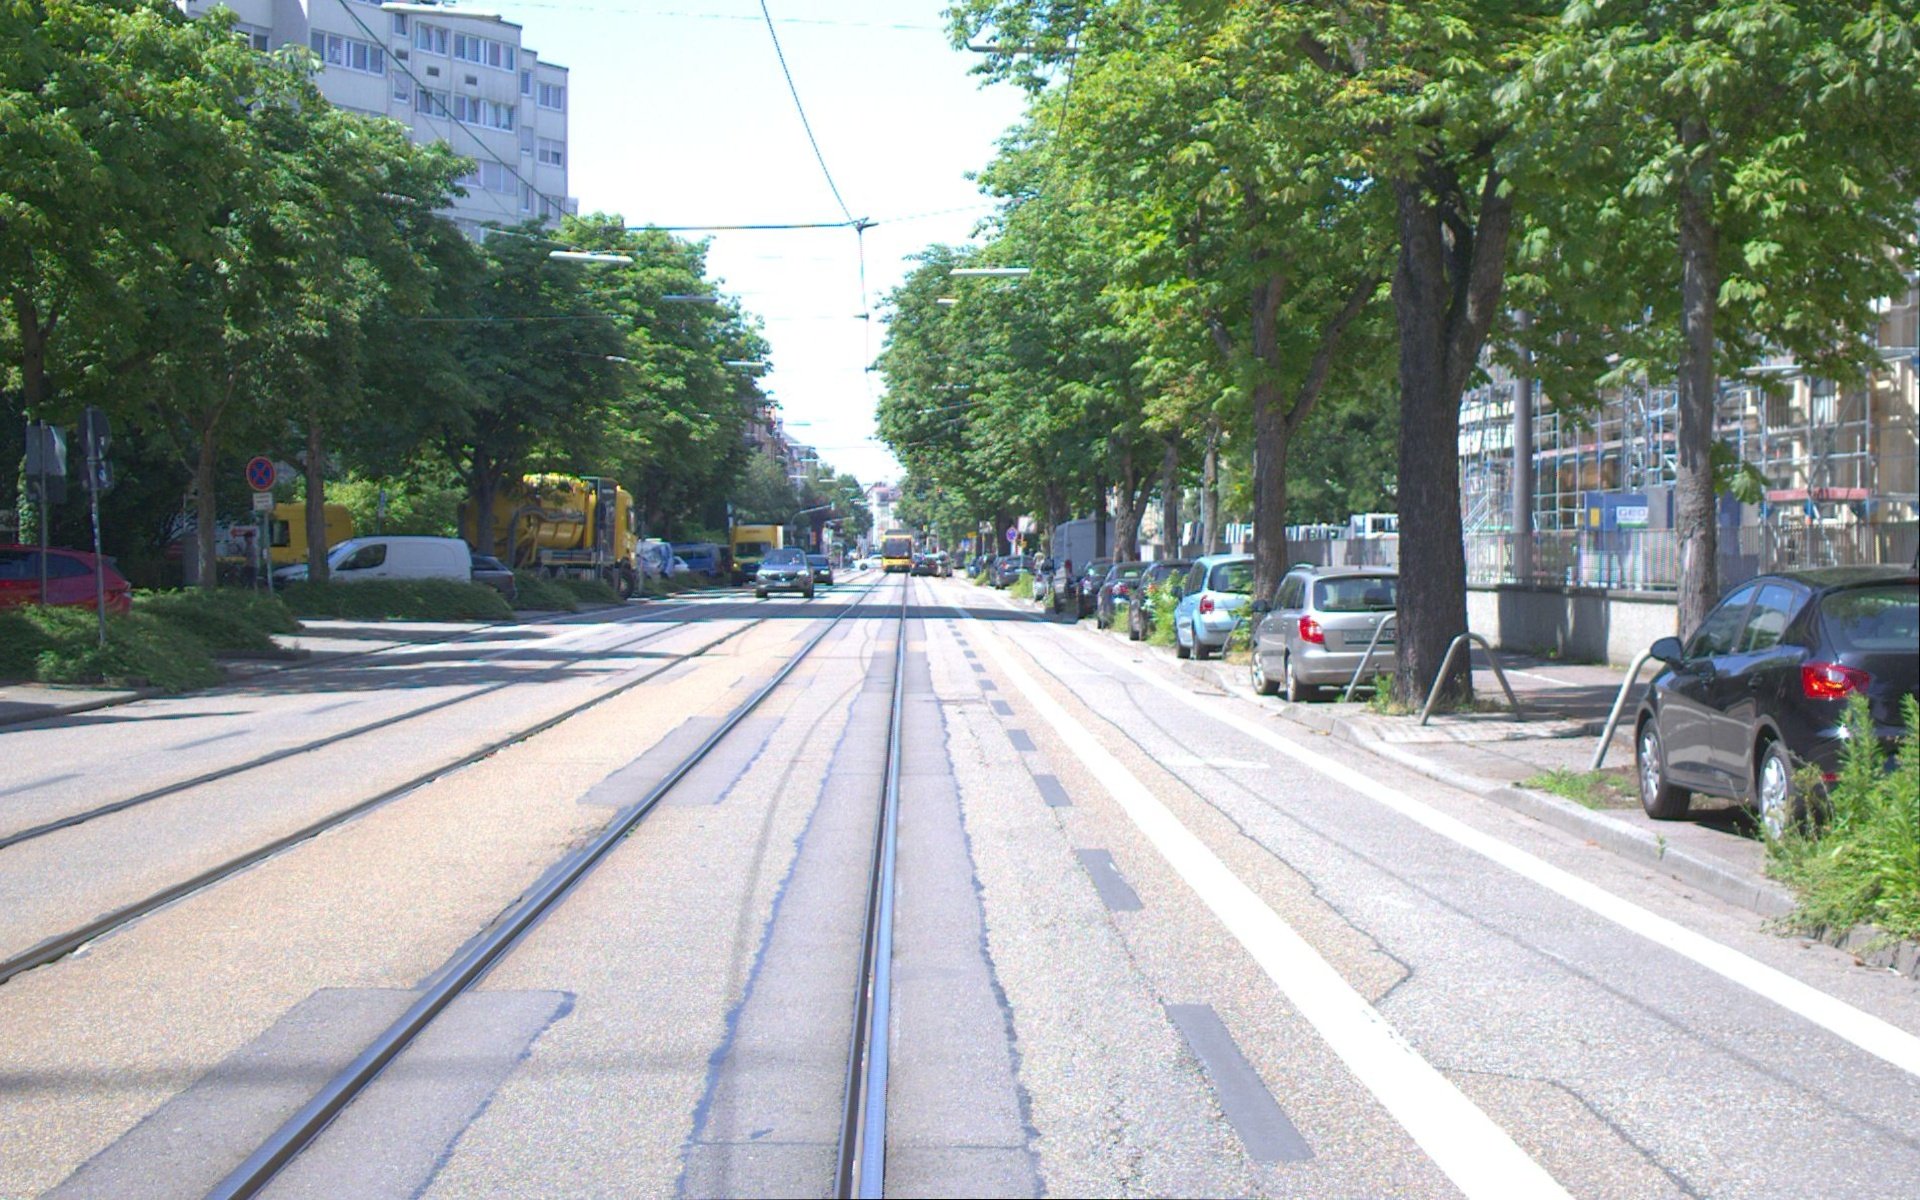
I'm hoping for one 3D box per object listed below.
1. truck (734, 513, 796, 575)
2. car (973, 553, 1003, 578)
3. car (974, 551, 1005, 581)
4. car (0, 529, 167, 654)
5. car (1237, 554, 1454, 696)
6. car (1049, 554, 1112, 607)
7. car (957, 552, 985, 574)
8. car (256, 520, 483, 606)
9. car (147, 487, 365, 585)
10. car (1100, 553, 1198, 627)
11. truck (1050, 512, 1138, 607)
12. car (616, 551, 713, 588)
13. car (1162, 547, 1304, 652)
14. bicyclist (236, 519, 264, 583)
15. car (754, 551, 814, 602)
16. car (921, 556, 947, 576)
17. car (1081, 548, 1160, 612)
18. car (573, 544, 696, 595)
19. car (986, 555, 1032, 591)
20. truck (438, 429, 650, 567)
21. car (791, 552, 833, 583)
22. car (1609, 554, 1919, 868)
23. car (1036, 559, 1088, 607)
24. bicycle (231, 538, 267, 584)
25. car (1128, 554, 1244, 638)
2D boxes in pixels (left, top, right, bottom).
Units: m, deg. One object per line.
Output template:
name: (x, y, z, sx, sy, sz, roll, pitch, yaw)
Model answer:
truck: (-9.184, -2.623, 162.195, 2.360, 2.843, 7.378, -1, 1, 1)
car: (1.674, -2.075, 206.584, 1.710, 1.418, 4.310, -1, 0, -1)
car: (1.598, -1.833, 187.154, 1.592, 1.611, 3.908, -1, 0, -1)
car: (-12.746, -0.125, 43.813, 4.764, 1.561, 2.002, 0, 1, -29)
car: (4.262, 0.240, 38.628, 1.671, 1.494, 4.366, 0, 1, -4)
car: (3.505, -0.586, 100.600, 1.644, 1.529, 3.947, 0, 1, -1)
car: (0.709, -2.417, 224.797, 1.710, 1.418, 4.310, -1, 0, -1)
car: (-13.077, -0.815, 76.229, 4.534, 1.785, 1.901, 1, 1, -33)
car: (-19.928, -1.778, 97.706, 2.182, 2.557, 6.713, 1, -1, 29)
car: (3.879, -0.231, 71.311, 1.824, 1.466, 4.486, 0, 1, 1)
truck: (3.576, -1.110, 92.734, 2.014, 2.480, 5.956, 0, 1, -1)
car: (-12.779, -1.335, 148.887, 1.761, 1.428, 3.990, -3, 0, 42)
car: (4.054, -0.038, 51.586, 1.671, 1.512, 4.202, 0, 1, -2)
bicyclist: (-16.591, -1.136, 80.354, 0.480, 1.476, 0.781, 1, 1, -3)
car: (-5.936, -0.810, 116.270, 1.831, 1.675, 4.185, 0, 1, -1)
car: (-1.752, -2.321, 232.656, 1.781, 1.341, 3.416, 0, 1, 0)
car: (3.806, -0.499, 82.146, 1.824, 1.466, 4.400, 0, 1, 2)
car: (-12.810, -1.210, 135.499, 1.920, 1.928, 4.745, -1, 0, 42)
car: (2.079, -1.130, 146.015, 1.639, 1.480, 3.873, -1, 0, -4)
truck: (-12.642, -3.037, 105.645, 2.717, 3.828, 10.957, 2, 0, 13)
car: (-6.766, -1.489, 157.905, 1.774, 1.392, 4.287, -1, 1, -1)
car: (4.728, 0.502, 18.358, 1.671, 1.484, 3.981, 0, 1, -2)
car: (3.323, -0.579, 112.357, 1.644, 1.529, 3.785, 0, 1, 1)
bicycle: (-16.603, -0.914, 80.323, 0.518, 1.043, 1.876, 1, 1, -3)
car: (3.972, -0.096, 60.858, 1.671, 1.433, 4.042, 0, 1, -2)
